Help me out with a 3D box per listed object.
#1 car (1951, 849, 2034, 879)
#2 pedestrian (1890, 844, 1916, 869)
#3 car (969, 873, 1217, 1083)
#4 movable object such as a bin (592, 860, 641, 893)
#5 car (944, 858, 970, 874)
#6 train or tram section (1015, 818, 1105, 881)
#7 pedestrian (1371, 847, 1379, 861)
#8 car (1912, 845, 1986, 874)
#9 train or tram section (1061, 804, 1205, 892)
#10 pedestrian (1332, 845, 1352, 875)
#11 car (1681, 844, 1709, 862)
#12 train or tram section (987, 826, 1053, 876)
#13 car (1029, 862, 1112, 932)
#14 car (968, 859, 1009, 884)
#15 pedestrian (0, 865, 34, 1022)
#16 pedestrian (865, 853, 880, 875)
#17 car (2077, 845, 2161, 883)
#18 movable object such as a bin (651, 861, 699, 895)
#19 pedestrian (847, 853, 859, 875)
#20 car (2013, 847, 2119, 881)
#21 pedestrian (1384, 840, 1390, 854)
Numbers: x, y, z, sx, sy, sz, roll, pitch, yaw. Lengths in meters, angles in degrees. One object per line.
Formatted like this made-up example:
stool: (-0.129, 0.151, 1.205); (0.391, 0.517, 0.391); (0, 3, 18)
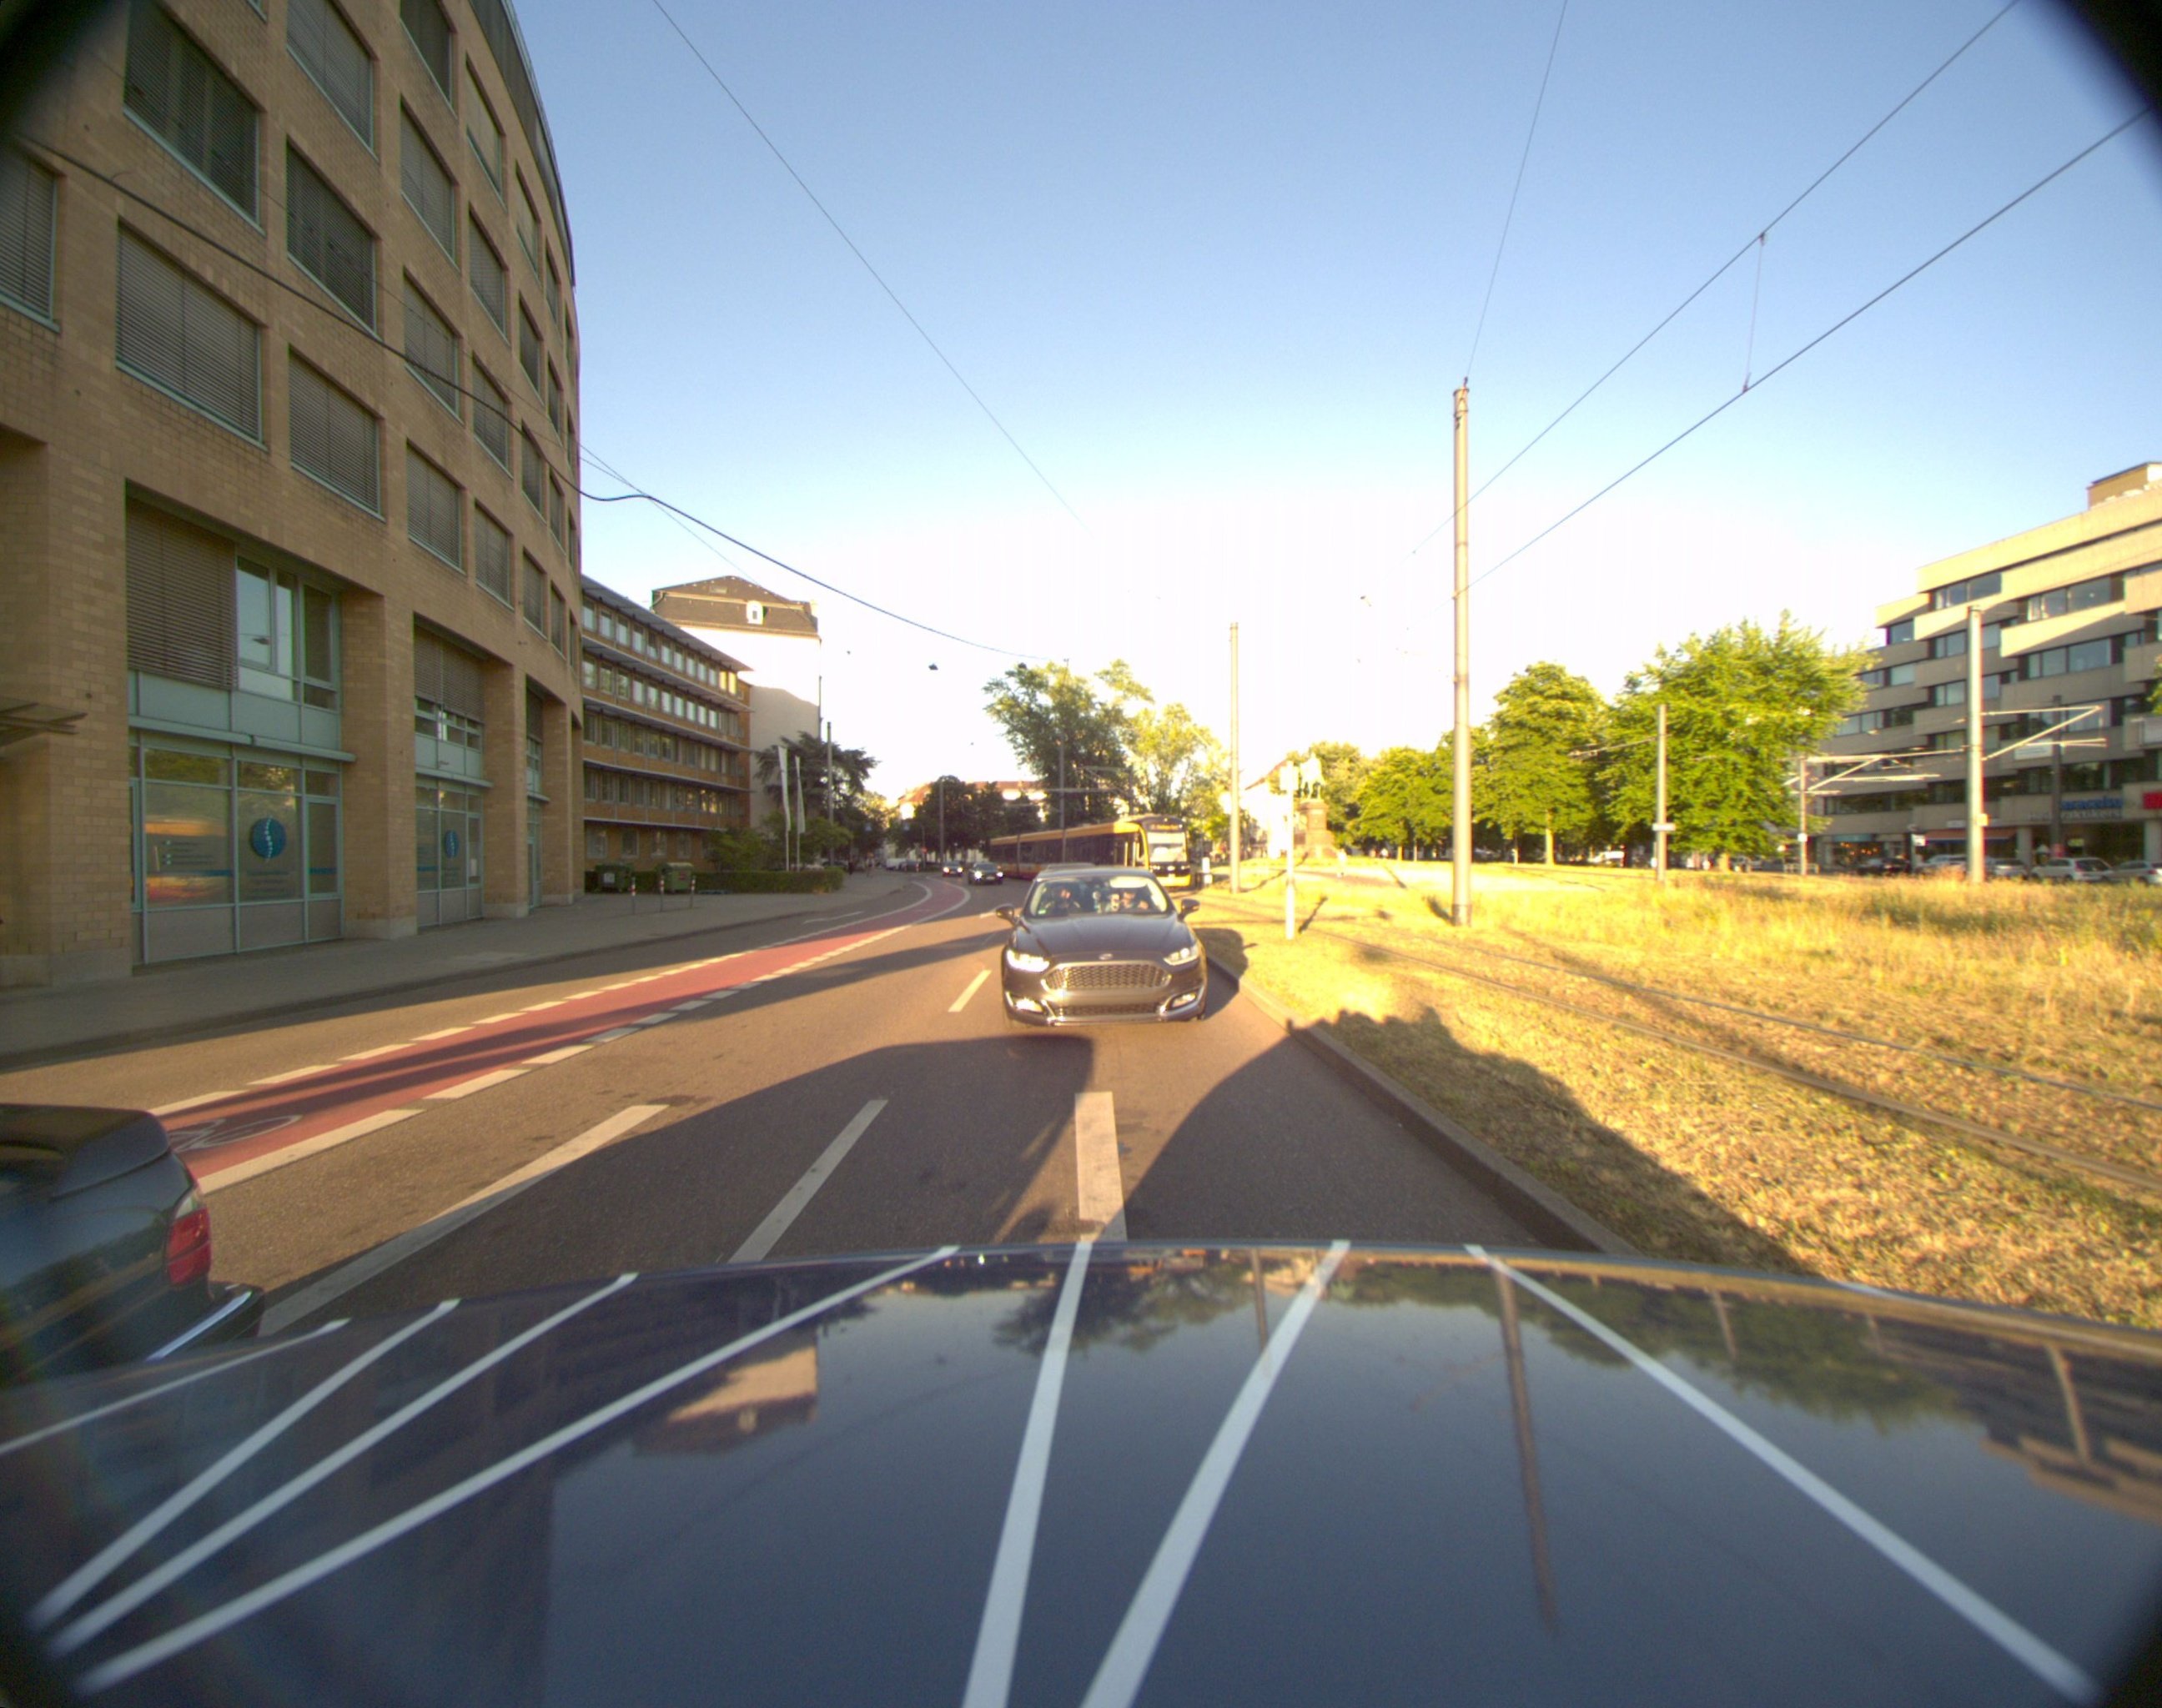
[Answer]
car: (58.828, 0.626, 49.140); (1.995, 1.868, 4.007); (0, 0, 27)
pedestrian: (66.347, 0.211, 61.321); (1.138, 2.023, 0.892); (-1, 1, 3)
car: (0.133, 1.015, 8.182); (1.890, 1.477, 4.725); (0, 0, 1)
movable object such as a bin: (-21.217, 1.030, 34.741); (1.427, 1.450, 1.332); (-1, 0, -2)
car: (-11.625, 1.088, 71.235); (1.759, 1.379, 3.999); (-3, 0, -1)
train or tram section: (-1.745, -0.292, 51.256); (2.889, 3.717, 12.165); (-1, 0, -17)
pedestrian: (35.156, -0.004, 90.764); (0.711, 1.660, 0.635); (-1, 1, 1)
car: (61.330, 0.376, 53.768); (1.995, 1.925, 4.007); (-1, 0, 24)
train or tram section: (2.086, -0.253, 38.789); (2.920, 3.717, 13.199); (-1, 0, -16)
pedestrian: (15.322, 0.335, 44.576); (0.891, 1.718, 0.797); (-1, 1, 1)
car: (72.044, -0.155, 89.188); (1.995, 2.002, 4.007); (-2, 1, 32)
train or tram section: (-5.272, -0.211, 62.546); (2.917, 3.717, 12.173); (-1, 0, -17)
car: (-0.197, 1.008, 19.753); (1.897, 1.526, 4.705); (-1, 0, 1)
car: (-5.991, 1.080, 48.812); (2.001, 1.453, 4.137); (-1, 0, -15)
pedestrian: (-11.840, 0.961, 7.985); (0.628, 1.672, 0.713); (-1, 1, -3)
pedestrian: (-18.157, 0.886, 66.198); (0.913, 1.883, 1.123); (-1, 1, -32)
car: (54.138, 0.489, 38.988); (1.921, 1.853, 4.006); (-1, 0, 23)
movable object such as a bin: (-18.276, 1.057, 34.234); (1.427, 1.450, 1.332); (-1, 0, -3)
pedestrian: (-19.466, 0.852, 64.852); (0.728, 1.797, 0.724); (-1, 1, 1)
car: (56.292, 0.553, 43.538); (1.995, 1.868, 4.006); (-1, 0, 22)
pedestrian: (36.321, -0.818, 90.216); (0.535, 1.684, 0.512); (-1, 1, 1)
